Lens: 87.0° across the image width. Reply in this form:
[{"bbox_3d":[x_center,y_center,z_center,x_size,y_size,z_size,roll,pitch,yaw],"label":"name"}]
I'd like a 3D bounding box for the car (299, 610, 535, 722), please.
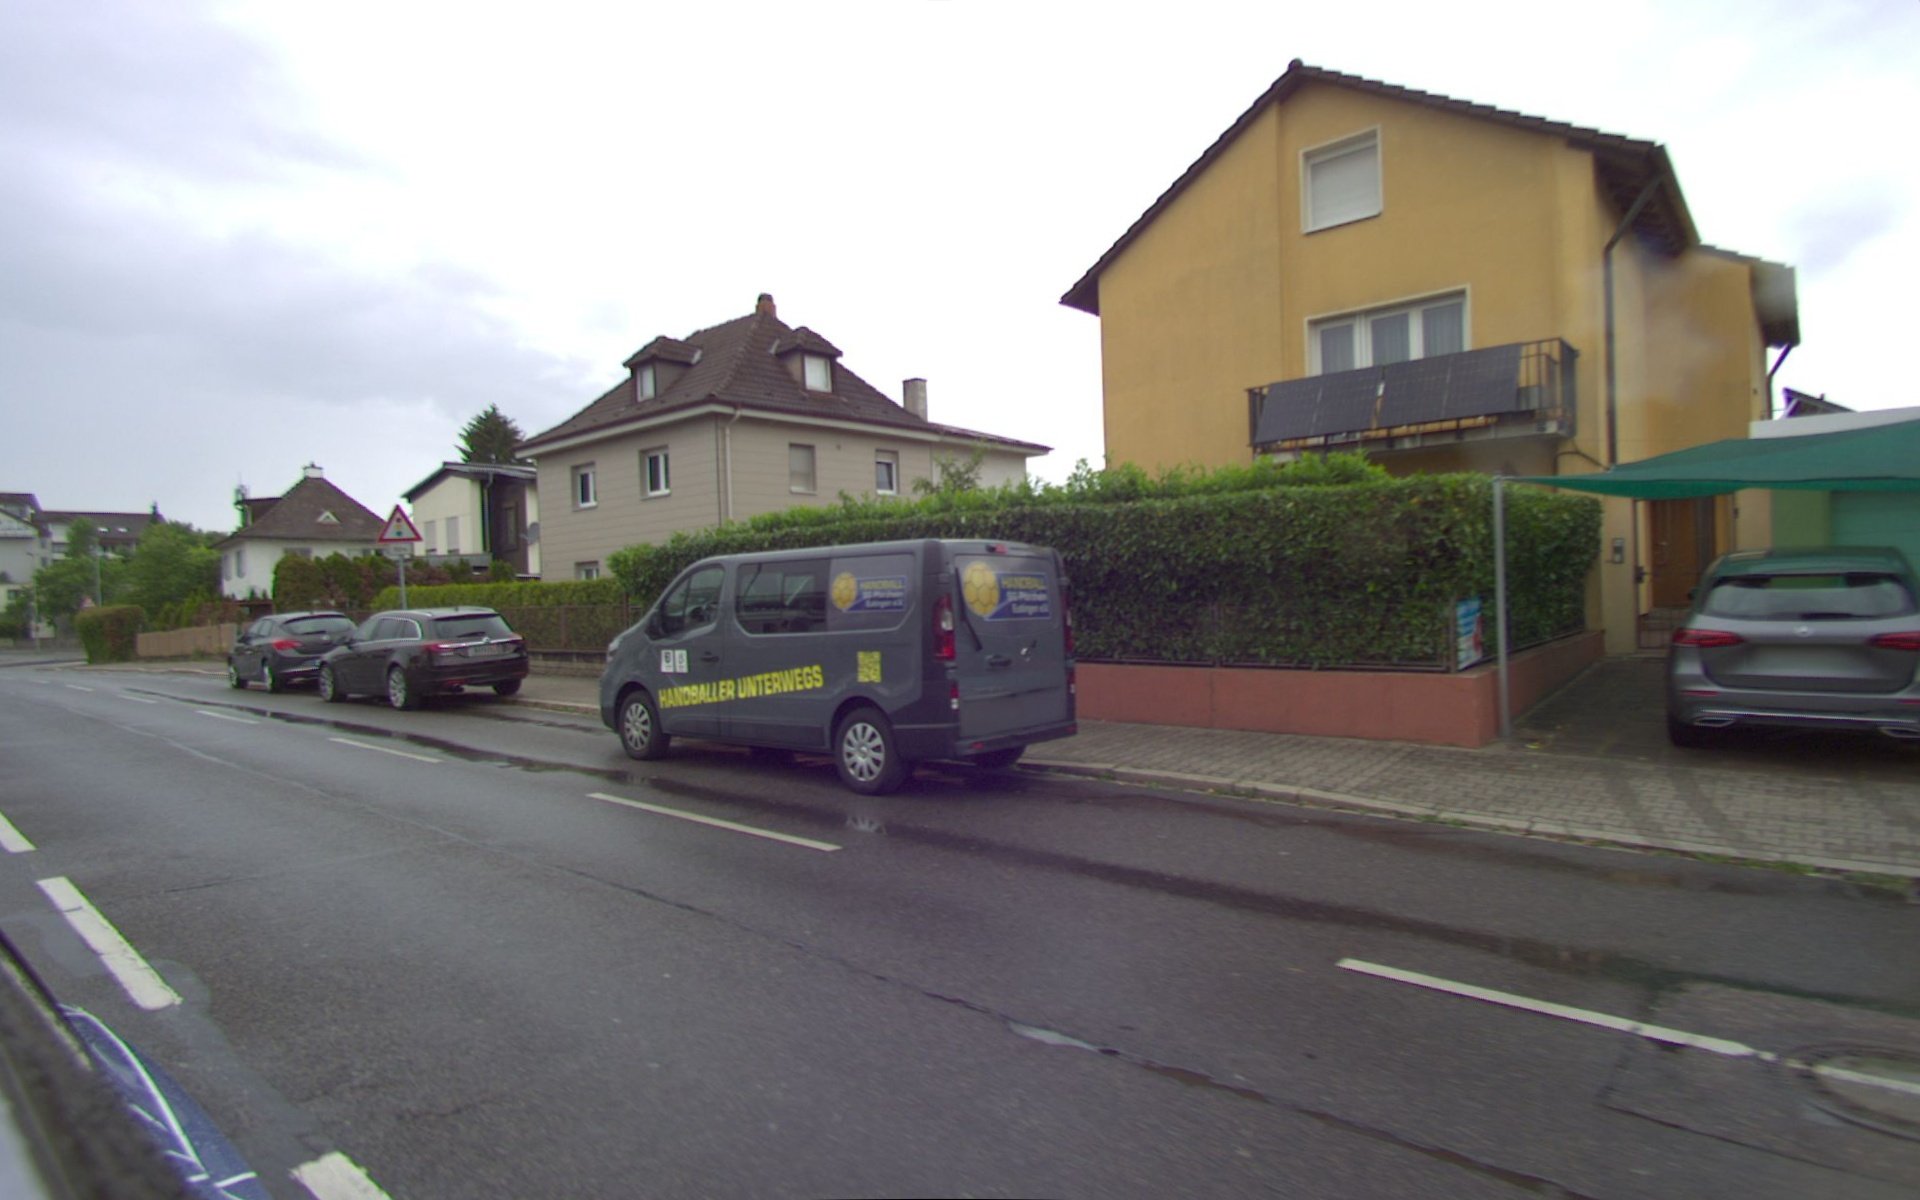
[{"bbox_3d":[-8.825,0.972,16.288,4.523,1.528,1.733,-1,0,39],"label":"car"}]

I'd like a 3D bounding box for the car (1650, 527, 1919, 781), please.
[{"bbox_3d":[7.280,0.268,8.540,1.918,1.625,3.919,-1,3,41],"label":"car"}]

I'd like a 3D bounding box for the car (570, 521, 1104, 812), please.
[{"bbox_3d":[-1.368,0.484,9.366,5.082,2.018,1.894,-1,0,39],"label":"car"}]

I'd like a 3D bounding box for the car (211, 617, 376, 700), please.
[{"bbox_3d":[-13.523,1.110,20.450,4.128,1.450,1.732,-1,0,41],"label":"car"}]
